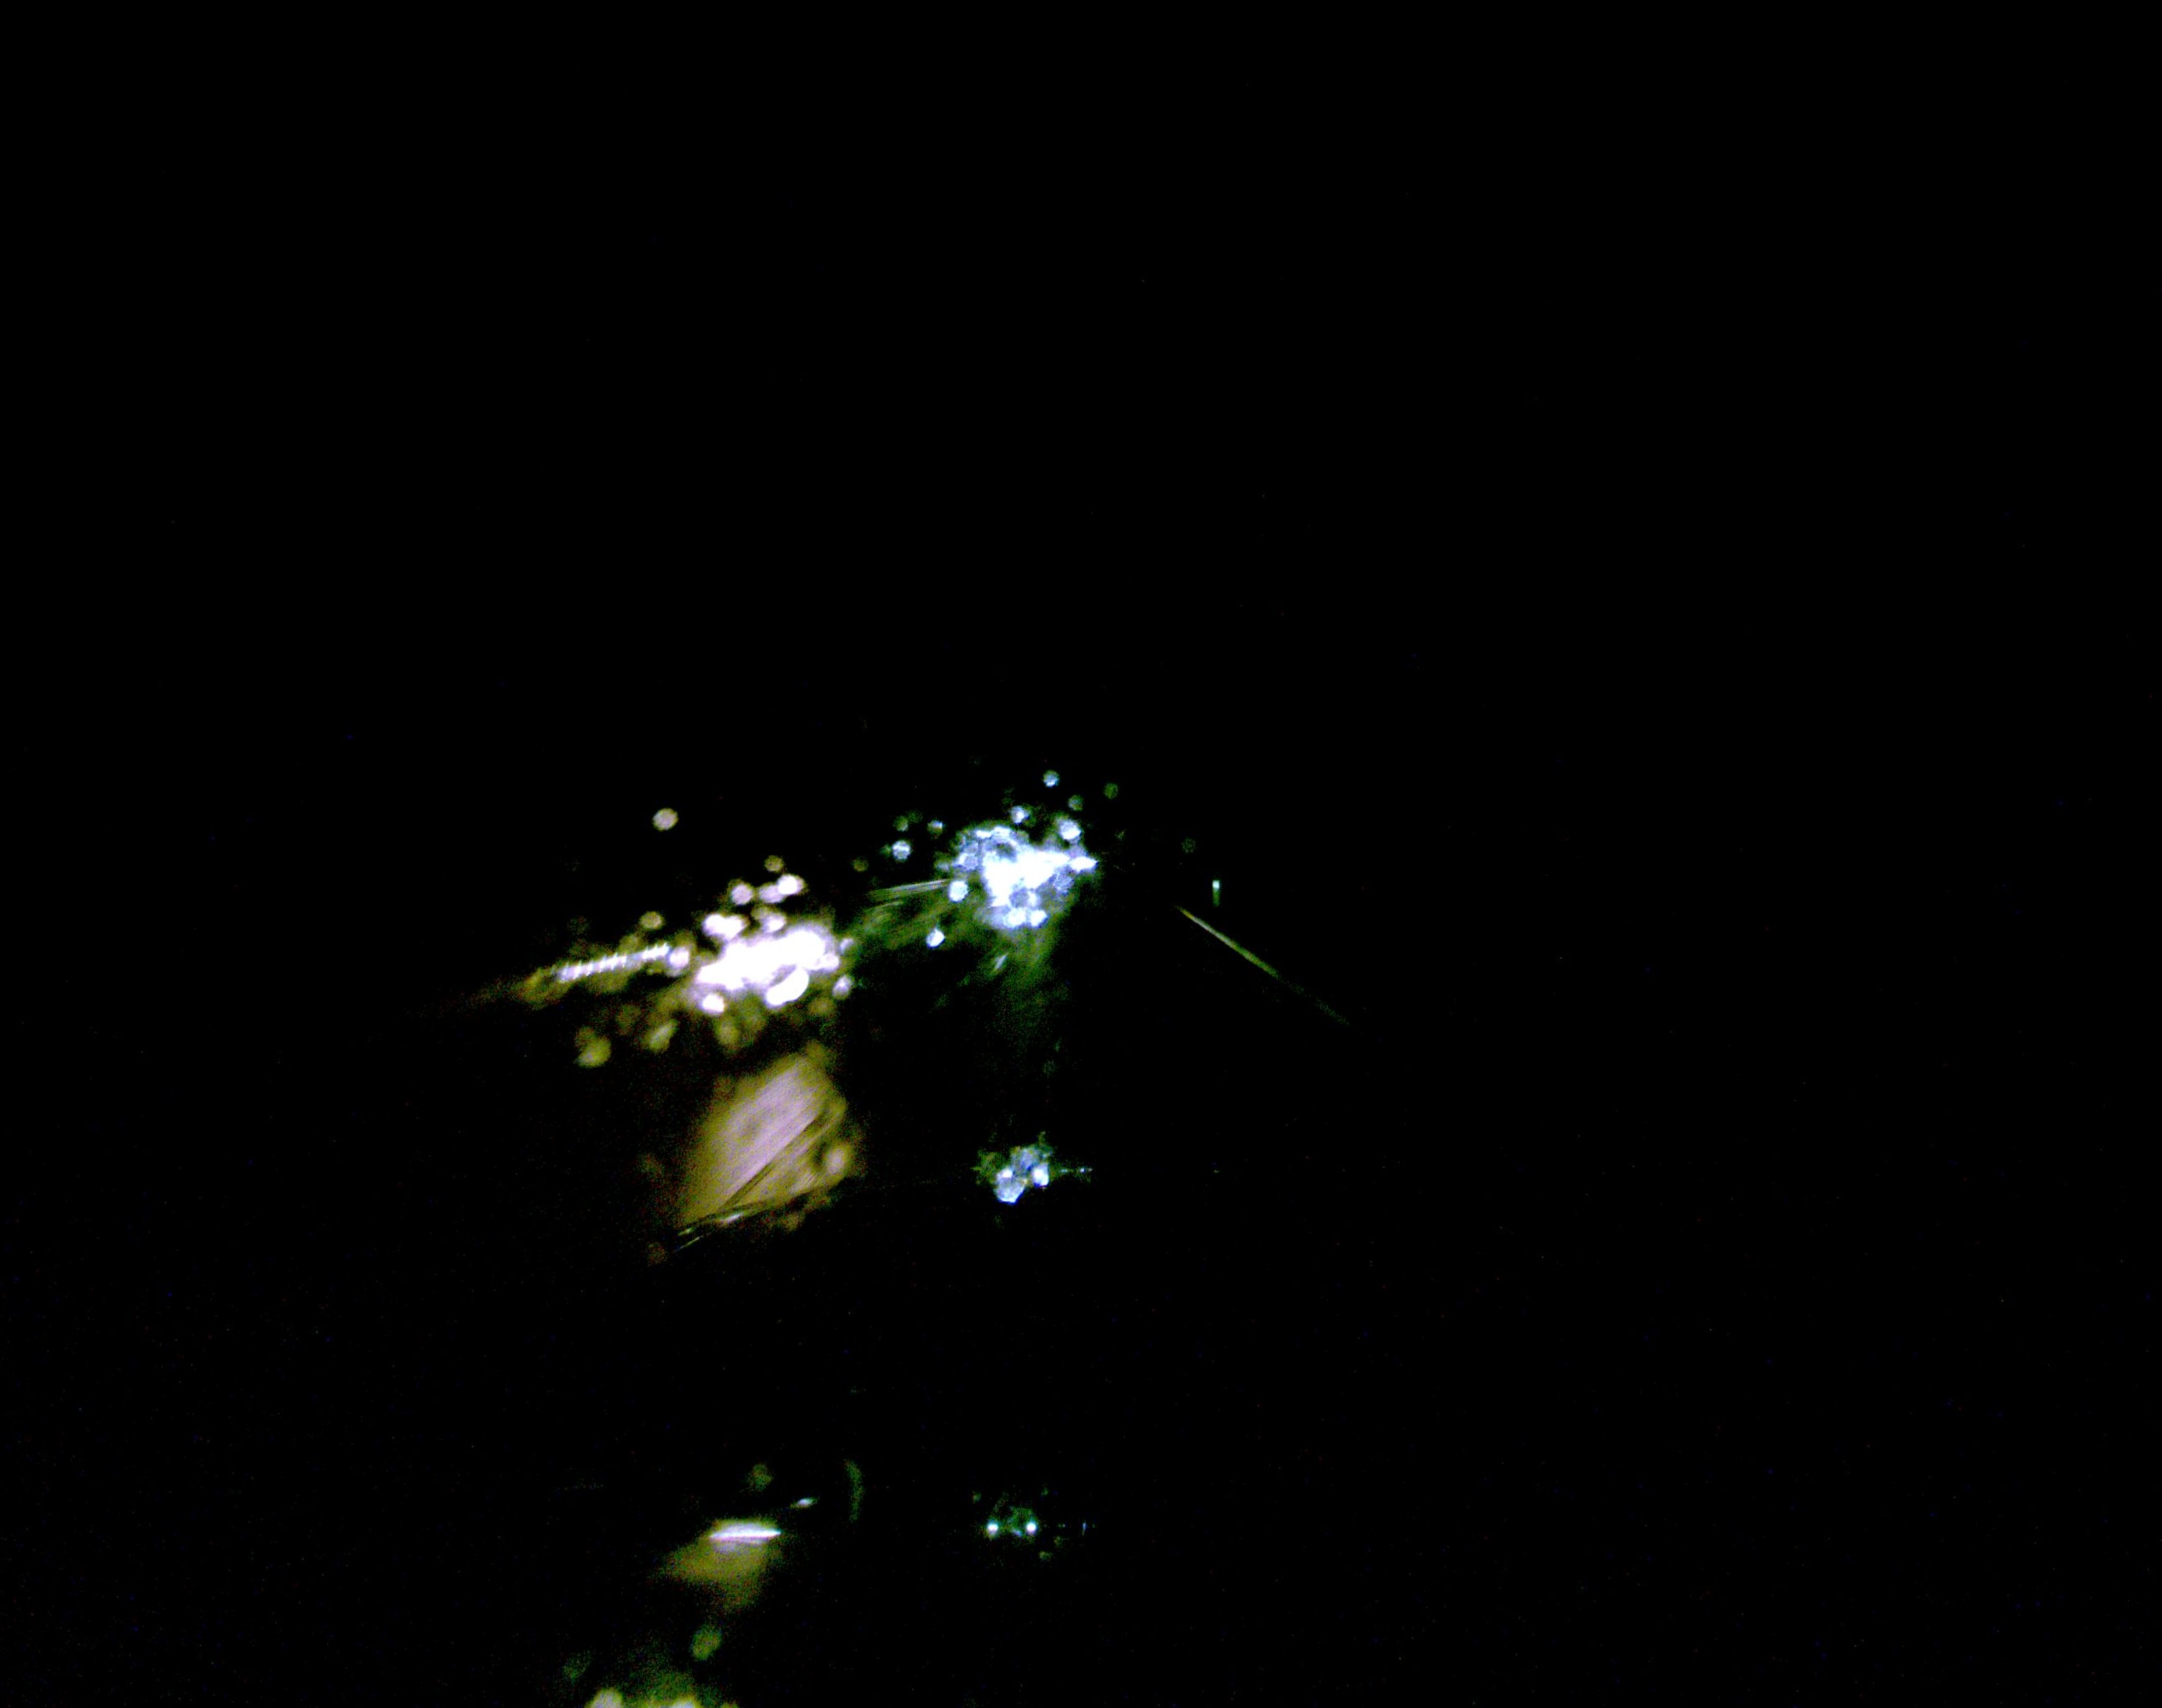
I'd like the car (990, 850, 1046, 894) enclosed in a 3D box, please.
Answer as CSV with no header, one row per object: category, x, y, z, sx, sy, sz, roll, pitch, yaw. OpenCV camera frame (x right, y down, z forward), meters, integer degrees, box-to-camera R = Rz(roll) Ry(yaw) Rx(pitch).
car,-2.654,0.756,35.434,1.986,1.793,4.248,0,-1,2

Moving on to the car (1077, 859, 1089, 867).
car,0.311,1.538,141.458,1.986,1.448,4.430,0,-1,1

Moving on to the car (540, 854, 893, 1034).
car,-3.485,0.759,8.825,1.837,1.480,4.249,0,-1,1
